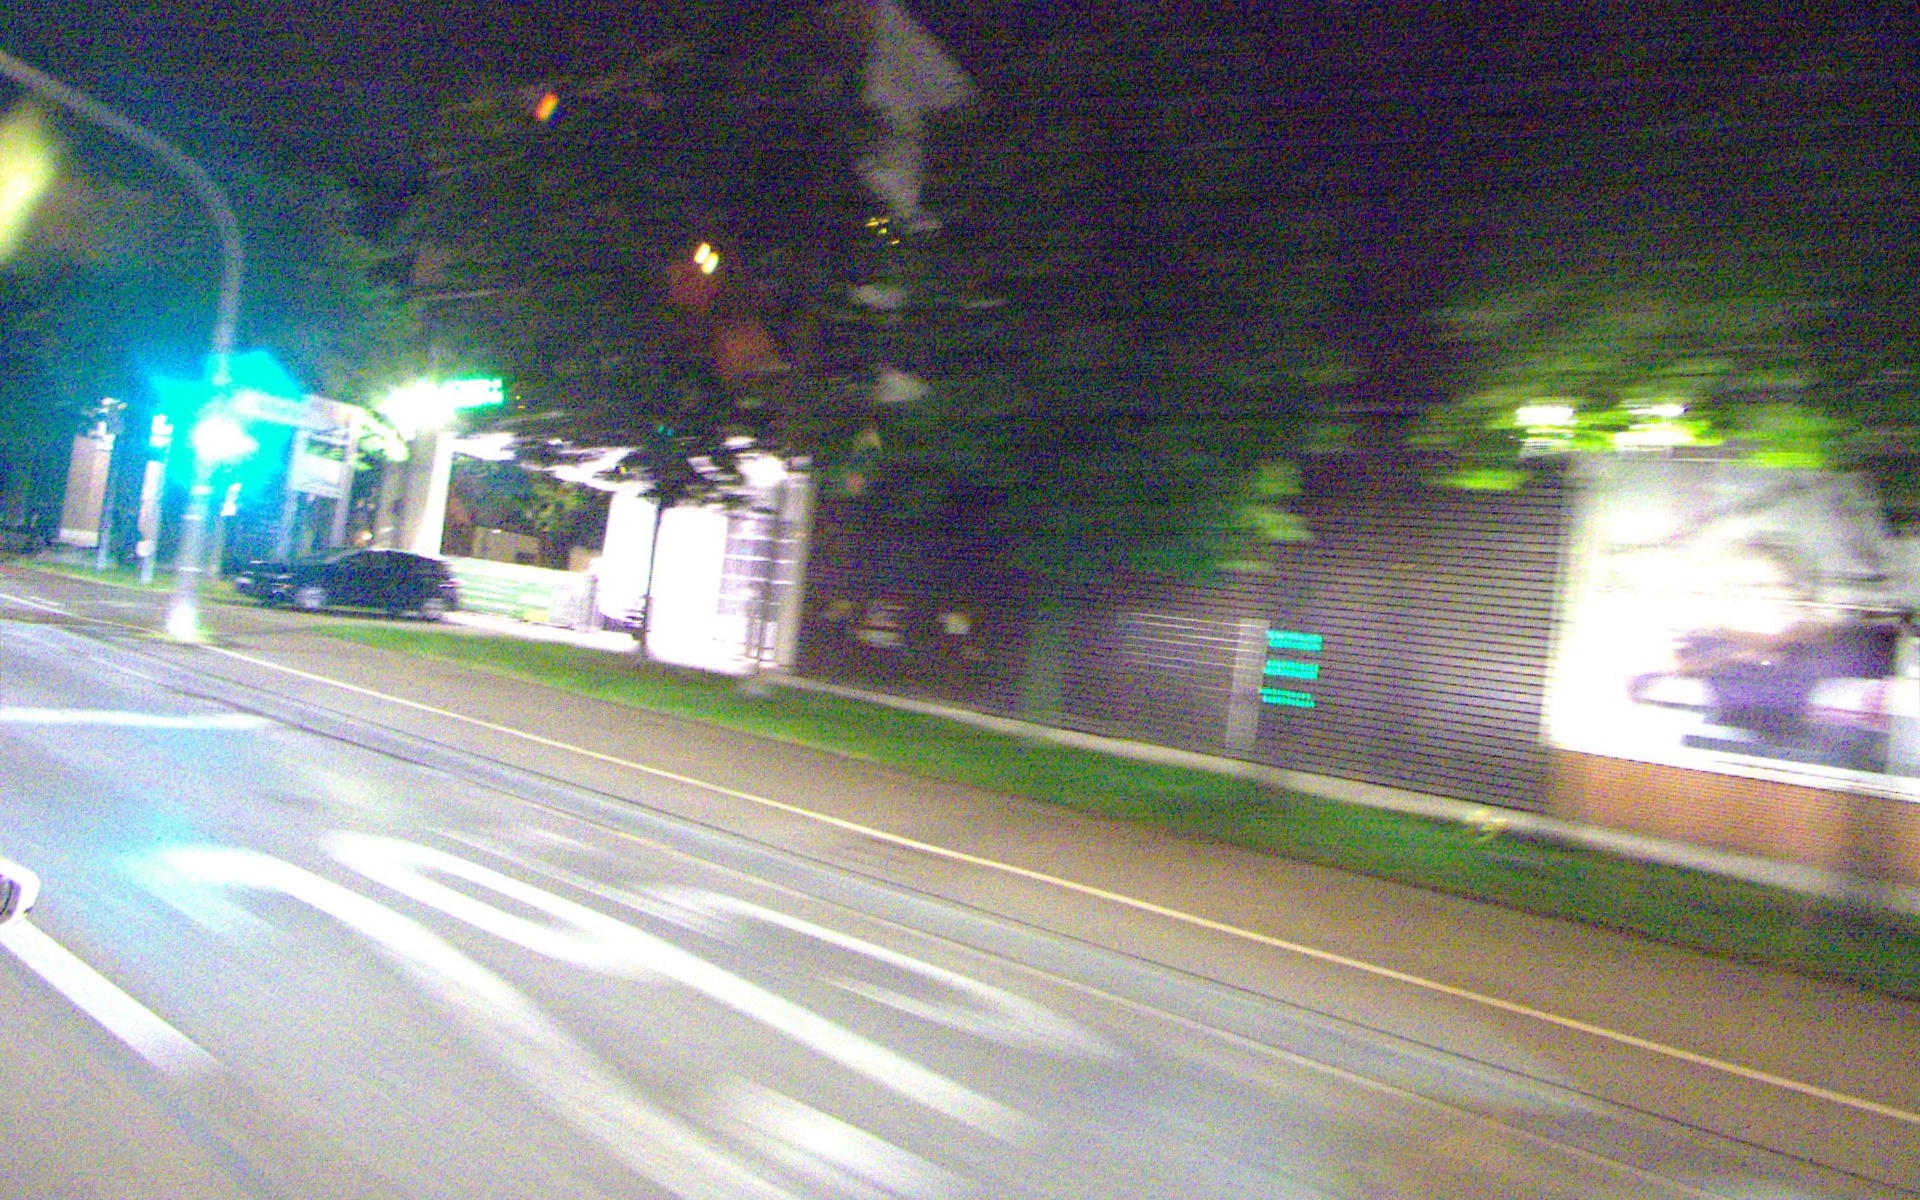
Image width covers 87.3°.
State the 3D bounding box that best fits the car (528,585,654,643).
[{"bbox_3d":[-10.648,0.401,28.981,3.480,1.181,1.461,6,-3,31],"label":"car"}]

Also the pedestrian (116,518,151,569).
[{"bbox_3d":[-27.064,-1.836,32.935,0.623,1.551,0.573,7,-1,32],"label":"pedestrian"}]

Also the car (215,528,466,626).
[{"bbox_3d":[-13.021,-0.435,21.414,1.757,1.471,4.090,6,-2,30],"label":"car"}]

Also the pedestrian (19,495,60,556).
[{"bbox_3d":[-29.434,-2.389,32.168,0.746,1.832,0.623,7,-1,32],"label":"pedestrian"}]

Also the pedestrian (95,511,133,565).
[{"bbox_3d":[-28.034,-2.041,33.354,0.668,1.658,0.622,7,-1,32],"label":"pedestrian"}]
